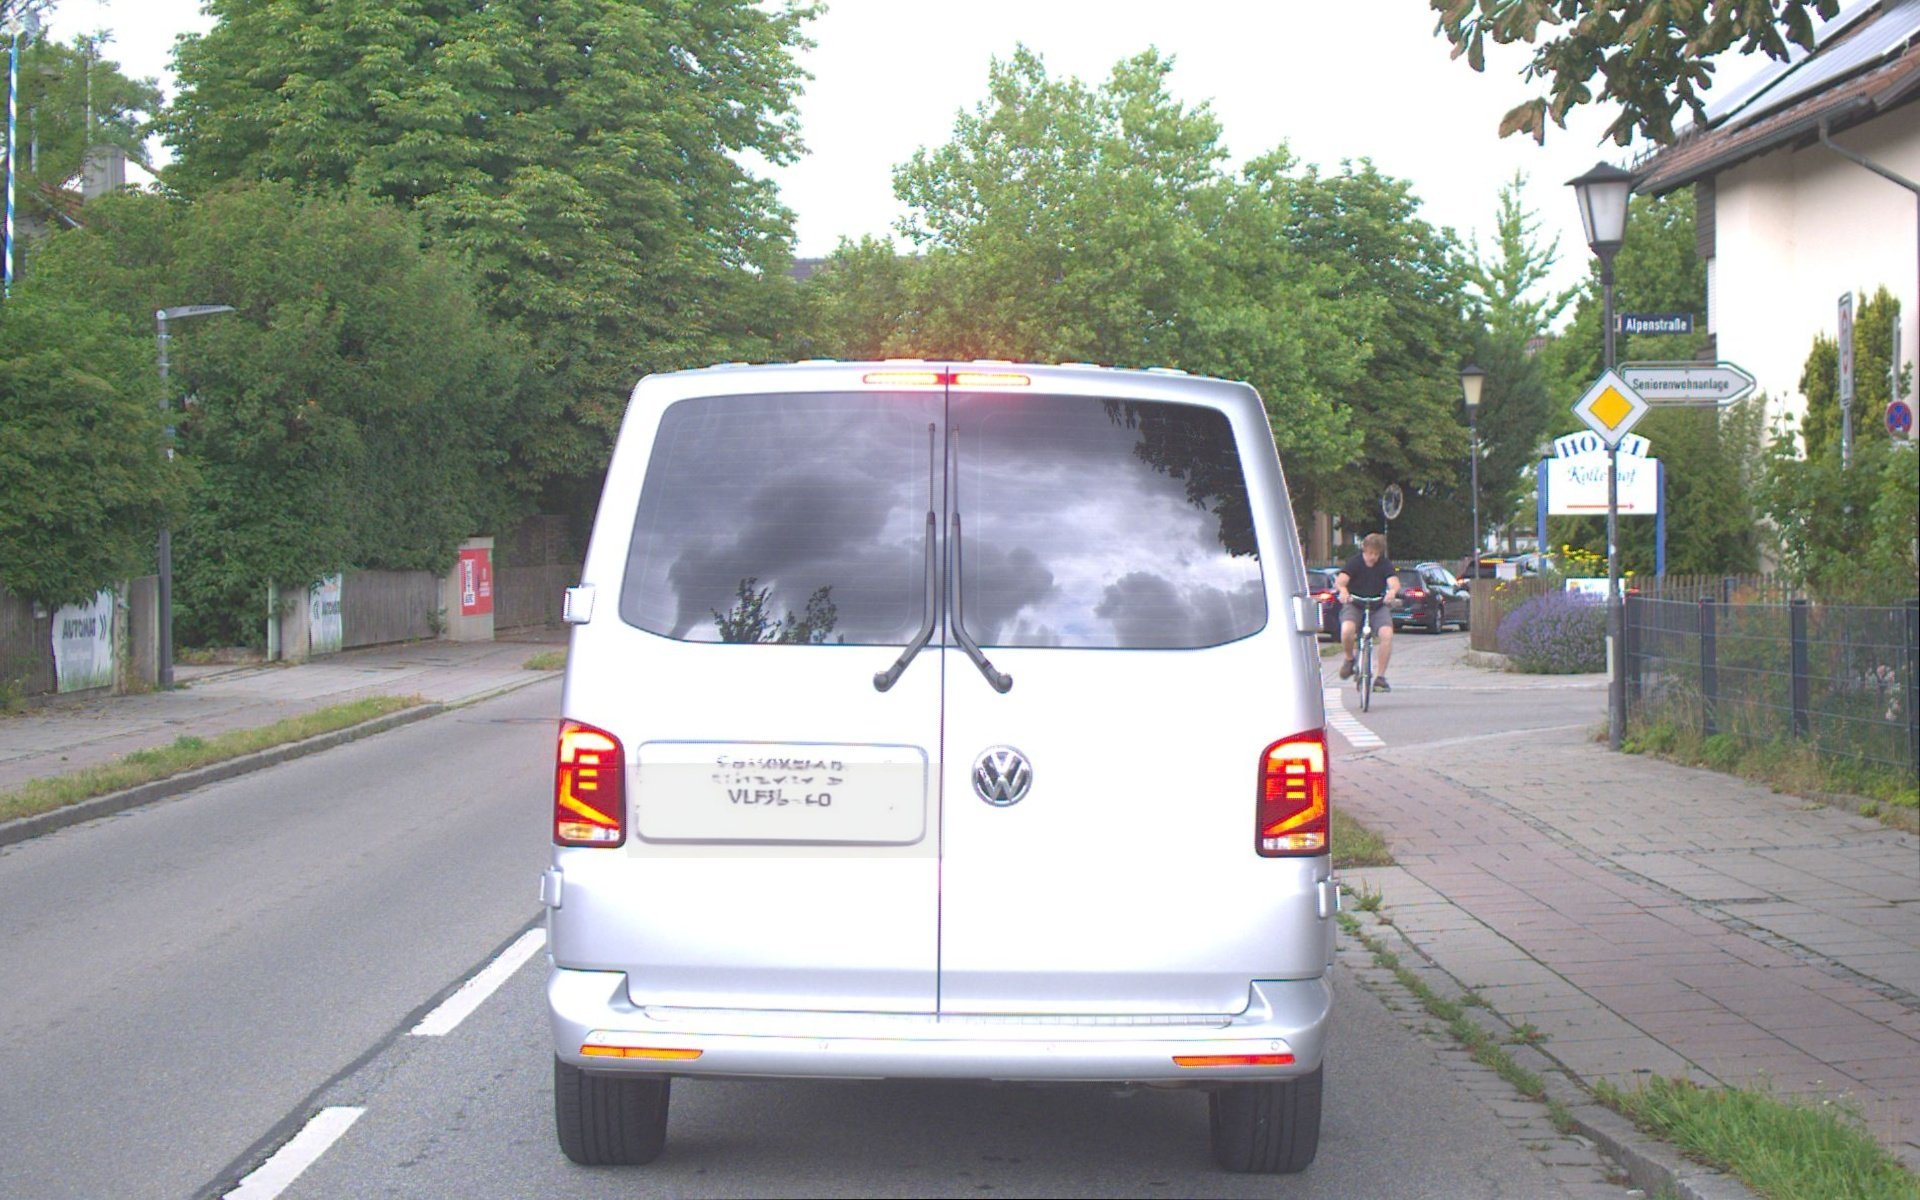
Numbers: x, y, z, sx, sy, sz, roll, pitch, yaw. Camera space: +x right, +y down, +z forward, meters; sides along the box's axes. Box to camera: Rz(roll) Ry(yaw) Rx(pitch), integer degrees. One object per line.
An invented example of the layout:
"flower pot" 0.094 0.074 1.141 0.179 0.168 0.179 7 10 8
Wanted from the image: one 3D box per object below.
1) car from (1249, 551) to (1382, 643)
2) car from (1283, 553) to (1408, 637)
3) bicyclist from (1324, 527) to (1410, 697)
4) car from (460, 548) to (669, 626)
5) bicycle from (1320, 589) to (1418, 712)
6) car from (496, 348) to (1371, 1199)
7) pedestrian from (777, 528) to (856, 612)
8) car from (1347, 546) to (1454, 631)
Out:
"car" 6.164 -0.074 59.287 1.882 1.530 3.919 0 1 12
"car" 7.322 -0.127 65.030 1.882 1.530 3.918 0 1 14
"bicyclist" 3.941 0.106 33.341 0.736 1.627 0.890 0 1 1
"car" -7.732 -0.262 67.094 3.986 1.481 2.001 0 1 -8
"bicycle" 3.960 0.472 33.369 0.764 1.139 1.845 0 1 1
"car" -0.040 0.400 9.372 1.881 1.934 3.921 0 1 1
"pedestrian" -3.109 -0.652 74.345 1.319 1.796 1.069 0 1 -38
"car" 9.270 -0.267 72.170 1.882 1.742 4.078 0 1 12
